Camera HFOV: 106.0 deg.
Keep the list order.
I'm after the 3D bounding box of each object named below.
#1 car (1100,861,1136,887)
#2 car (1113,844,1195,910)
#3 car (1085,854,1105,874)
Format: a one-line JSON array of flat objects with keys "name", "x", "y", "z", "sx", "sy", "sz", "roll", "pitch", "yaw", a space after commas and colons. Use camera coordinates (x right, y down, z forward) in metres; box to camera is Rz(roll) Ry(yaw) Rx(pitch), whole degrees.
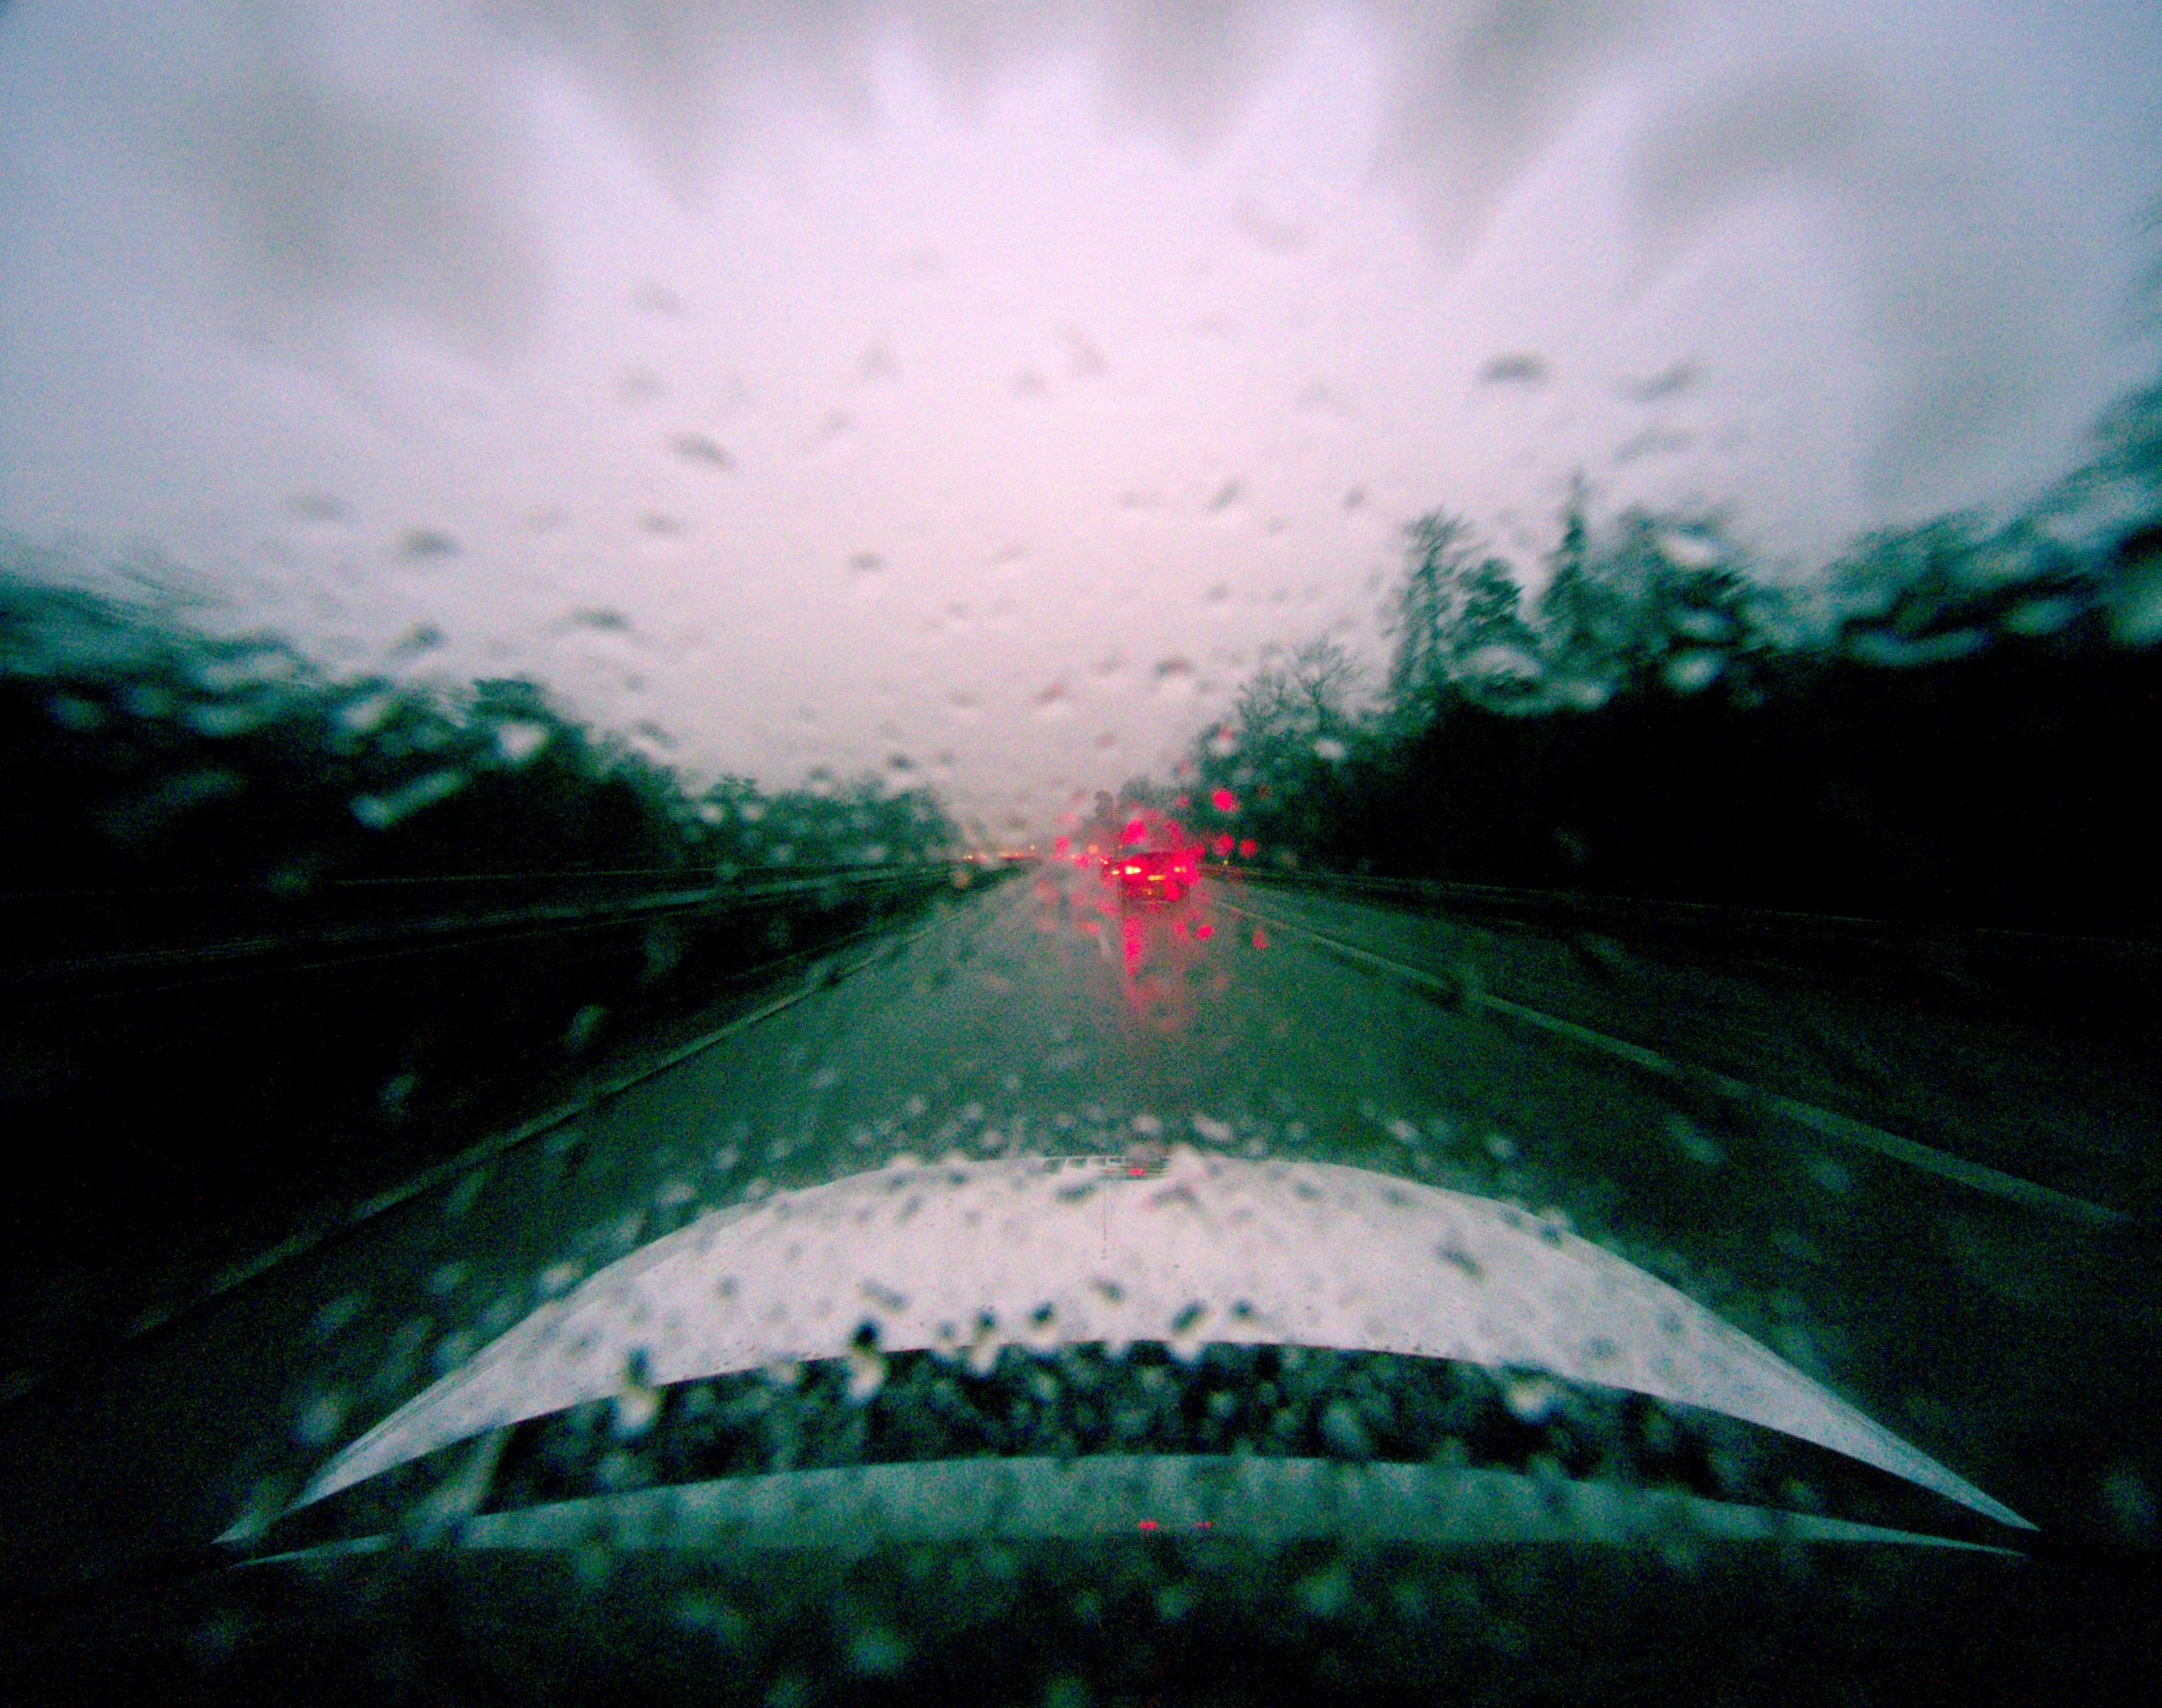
[{"name": "car", "x": 2.128, "y": 1.126, "z": 47.293, "sx": 1.986, "sy": 1.420, "sz": 4.001, "roll": 1, "pitch": -1, "yaw": 1}, {"name": "car", "x": 1.984, "y": 0.616, "z": 23.328, "sx": 1.986, "sy": 1.715, "sz": 3.829, "roll": -1, "pitch": 0, "yaw": 0}, {"name": "car", "x": 1.457, "y": 1.077, "z": 85.584, "sx": 1.987, "sy": 2.014, "sz": 4.000, "roll": -1, "pitch": 0, "yaw": 1}]
